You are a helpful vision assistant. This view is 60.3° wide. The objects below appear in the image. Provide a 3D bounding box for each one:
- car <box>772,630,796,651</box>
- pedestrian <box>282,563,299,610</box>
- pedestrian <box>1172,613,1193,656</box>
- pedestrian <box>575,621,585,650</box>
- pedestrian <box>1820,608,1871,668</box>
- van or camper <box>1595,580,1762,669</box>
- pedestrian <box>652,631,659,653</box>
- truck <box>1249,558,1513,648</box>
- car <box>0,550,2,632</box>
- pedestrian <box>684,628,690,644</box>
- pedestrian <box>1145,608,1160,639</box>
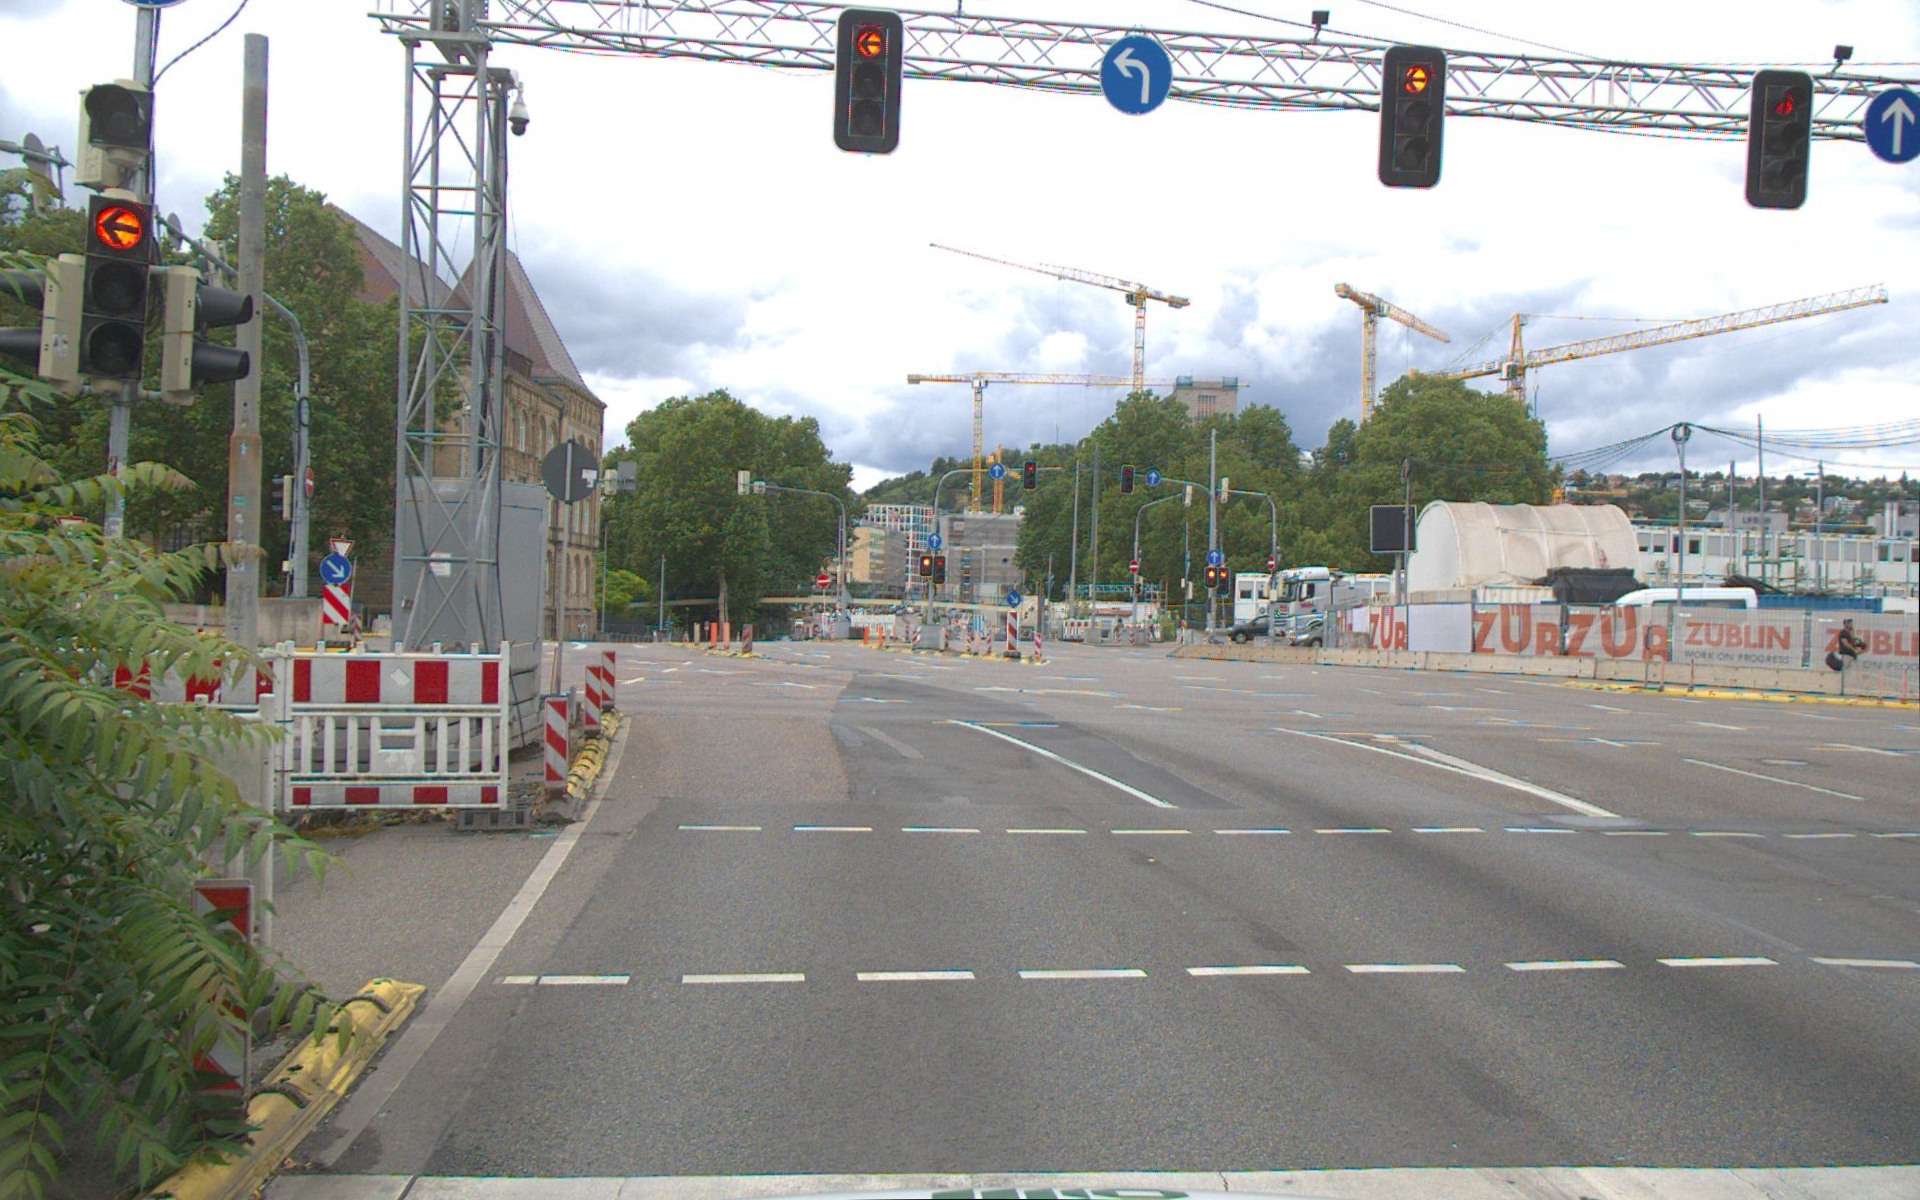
[{"bbox_3d":[-19.094,4.397,179.566,1.952,2.049,4.002,1,0,3],"label":"car"},{"bbox_3d":[-29.500,-0.607,72.839,0.523,2.049,0.421,2,0,-44],"label":"pedestrian"},{"bbox_3d":[9.069,1.409,67.565,0.714,1.718,0.677,2,0,-1],"label":"pedestrian"},{"bbox_3d":[-26.550,2.470,115.667,0.513,2.049,0.566,1,0,-1],"label":"pedestrian"},{"bbox_3d":[21.247,0.902,39.682,0.889,1.402,0.794,2,0,42],"label":"pedestrian"},{"bbox_3d":[20.734,0.682,47.906,4.123,2.398,2.002,1,0,14],"label":"van or camper"},{"bbox_3d":[-28.261,3.918,153.461,0.513,2.049,0.566,1,0,-1],"label":"pedestrian"},{"bbox_3d":[20.999,0.168,82.315,12.837,4.111,3.927,1,0,-21],"label":"truck"},{"bbox_3d":[-19.703,-0.122,29.342,4.239,1.705,1.993,2,0,-14],"label":"car"},{"bbox_3d":[-28.779,3.790,174.429,0.525,1.620,0.515,1,0,-5],"label":"pedestrian"},{"bbox_3d":[11.079,1.336,95.051,0.714,1.718,0.677,2,0,-1],"label":"pedestrian"}]
